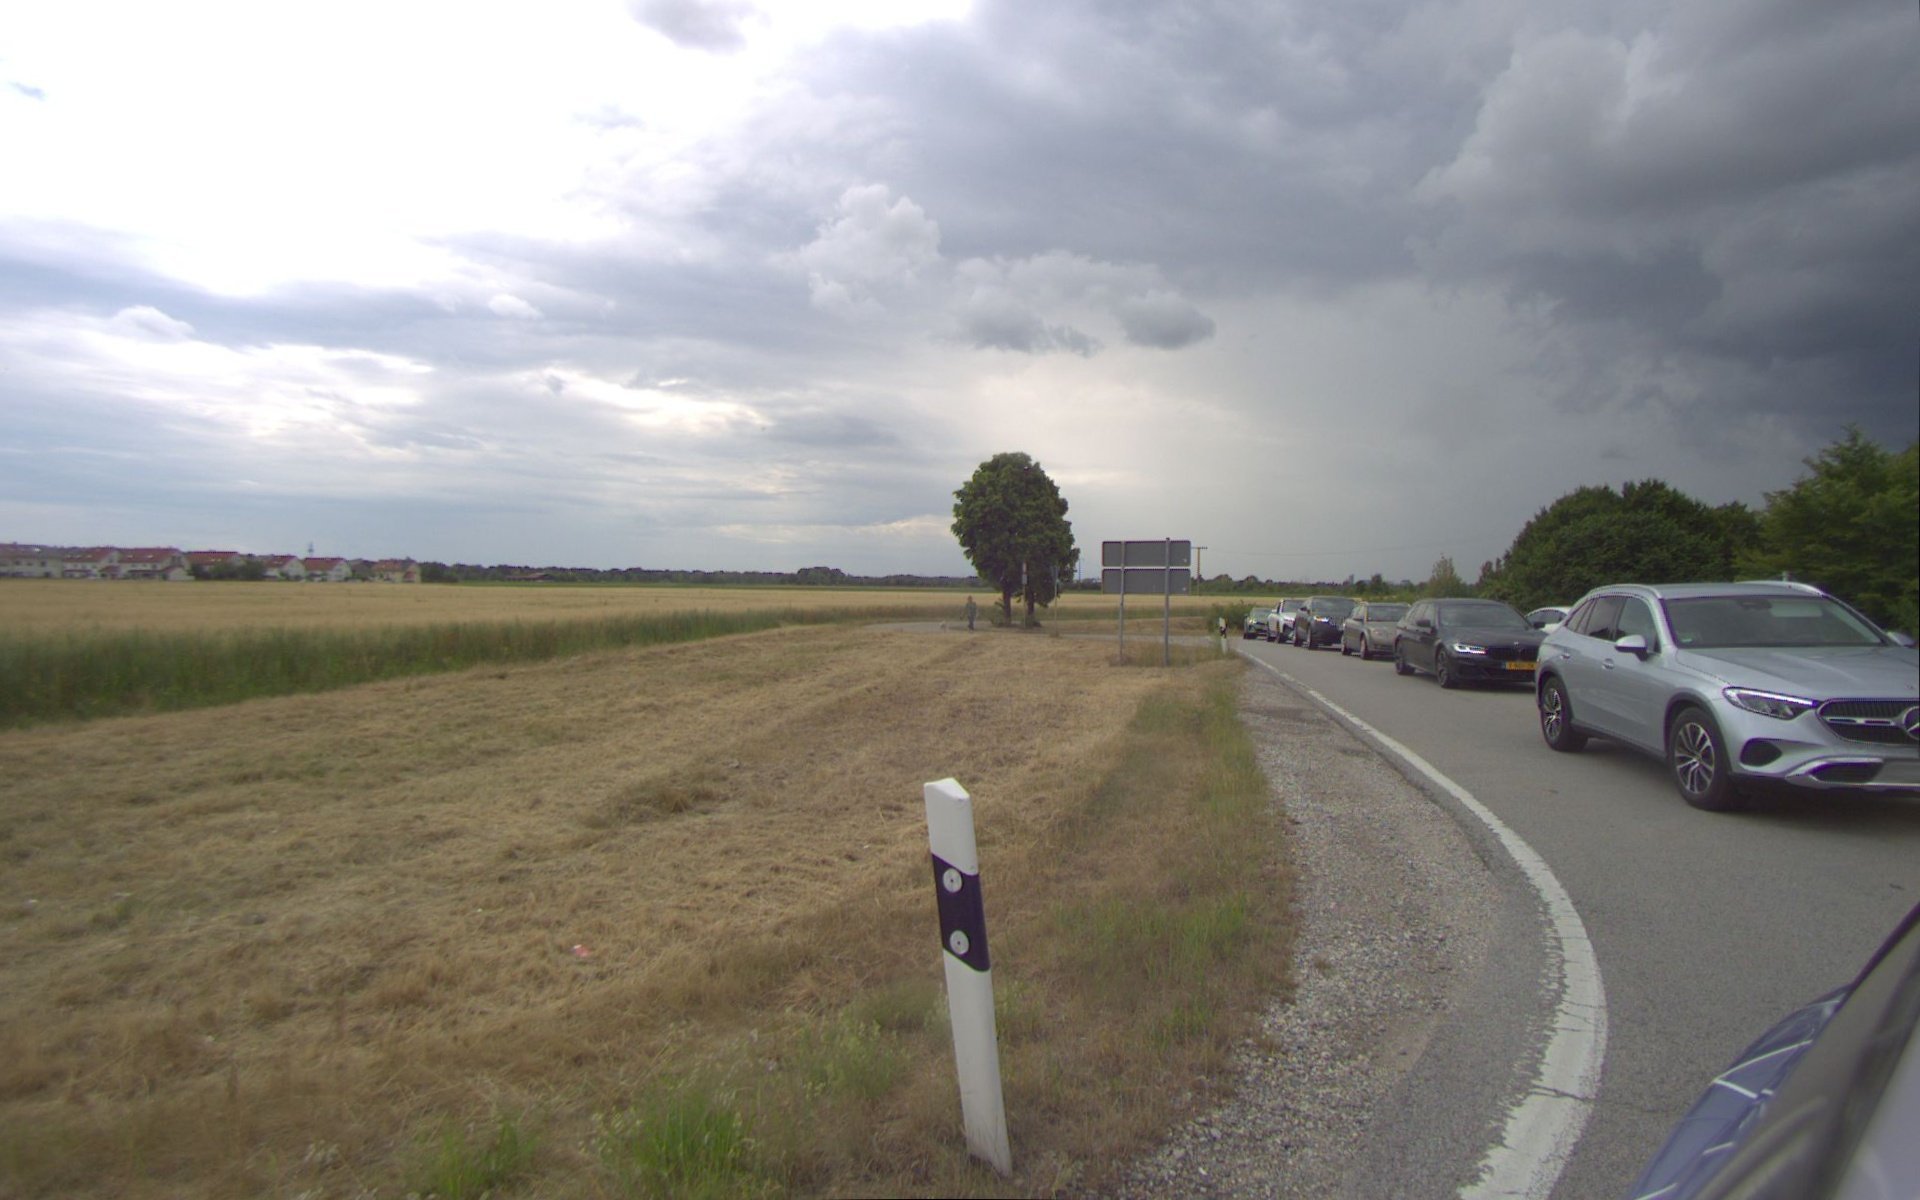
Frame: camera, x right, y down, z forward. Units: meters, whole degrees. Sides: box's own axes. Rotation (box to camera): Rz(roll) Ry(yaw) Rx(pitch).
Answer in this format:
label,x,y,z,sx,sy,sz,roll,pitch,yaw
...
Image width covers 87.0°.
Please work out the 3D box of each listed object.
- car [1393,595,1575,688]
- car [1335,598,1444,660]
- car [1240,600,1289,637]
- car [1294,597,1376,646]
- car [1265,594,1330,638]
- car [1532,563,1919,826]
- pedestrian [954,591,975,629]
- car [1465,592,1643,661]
label,x,y,z,sx,sy,sz,roll,pitch,yaw
car,8.997,0.632,17.805,1.696,1.370,4.677,-2,0,13
car,10.805,0.664,25.758,1.695,1.370,4.200,1,1,11
car,13.976,0.807,46.567,1.695,1.513,4.200,-2,0,11
car,11.653,0.618,31.720,1.695,1.370,4.200,-2,0,11
car,12.696,0.563,38.281,1.695,1.513,4.624,-2,0,11
car,6.483,0.544,8.273,1.967,1.606,4.376,-2,0,14
pedestrian,0.194,0.420,43.375,0.758,1.631,0.946,1,0,-7
car,14.679,0.598,25.317,1.785,1.425,4.315,1,2,-1
